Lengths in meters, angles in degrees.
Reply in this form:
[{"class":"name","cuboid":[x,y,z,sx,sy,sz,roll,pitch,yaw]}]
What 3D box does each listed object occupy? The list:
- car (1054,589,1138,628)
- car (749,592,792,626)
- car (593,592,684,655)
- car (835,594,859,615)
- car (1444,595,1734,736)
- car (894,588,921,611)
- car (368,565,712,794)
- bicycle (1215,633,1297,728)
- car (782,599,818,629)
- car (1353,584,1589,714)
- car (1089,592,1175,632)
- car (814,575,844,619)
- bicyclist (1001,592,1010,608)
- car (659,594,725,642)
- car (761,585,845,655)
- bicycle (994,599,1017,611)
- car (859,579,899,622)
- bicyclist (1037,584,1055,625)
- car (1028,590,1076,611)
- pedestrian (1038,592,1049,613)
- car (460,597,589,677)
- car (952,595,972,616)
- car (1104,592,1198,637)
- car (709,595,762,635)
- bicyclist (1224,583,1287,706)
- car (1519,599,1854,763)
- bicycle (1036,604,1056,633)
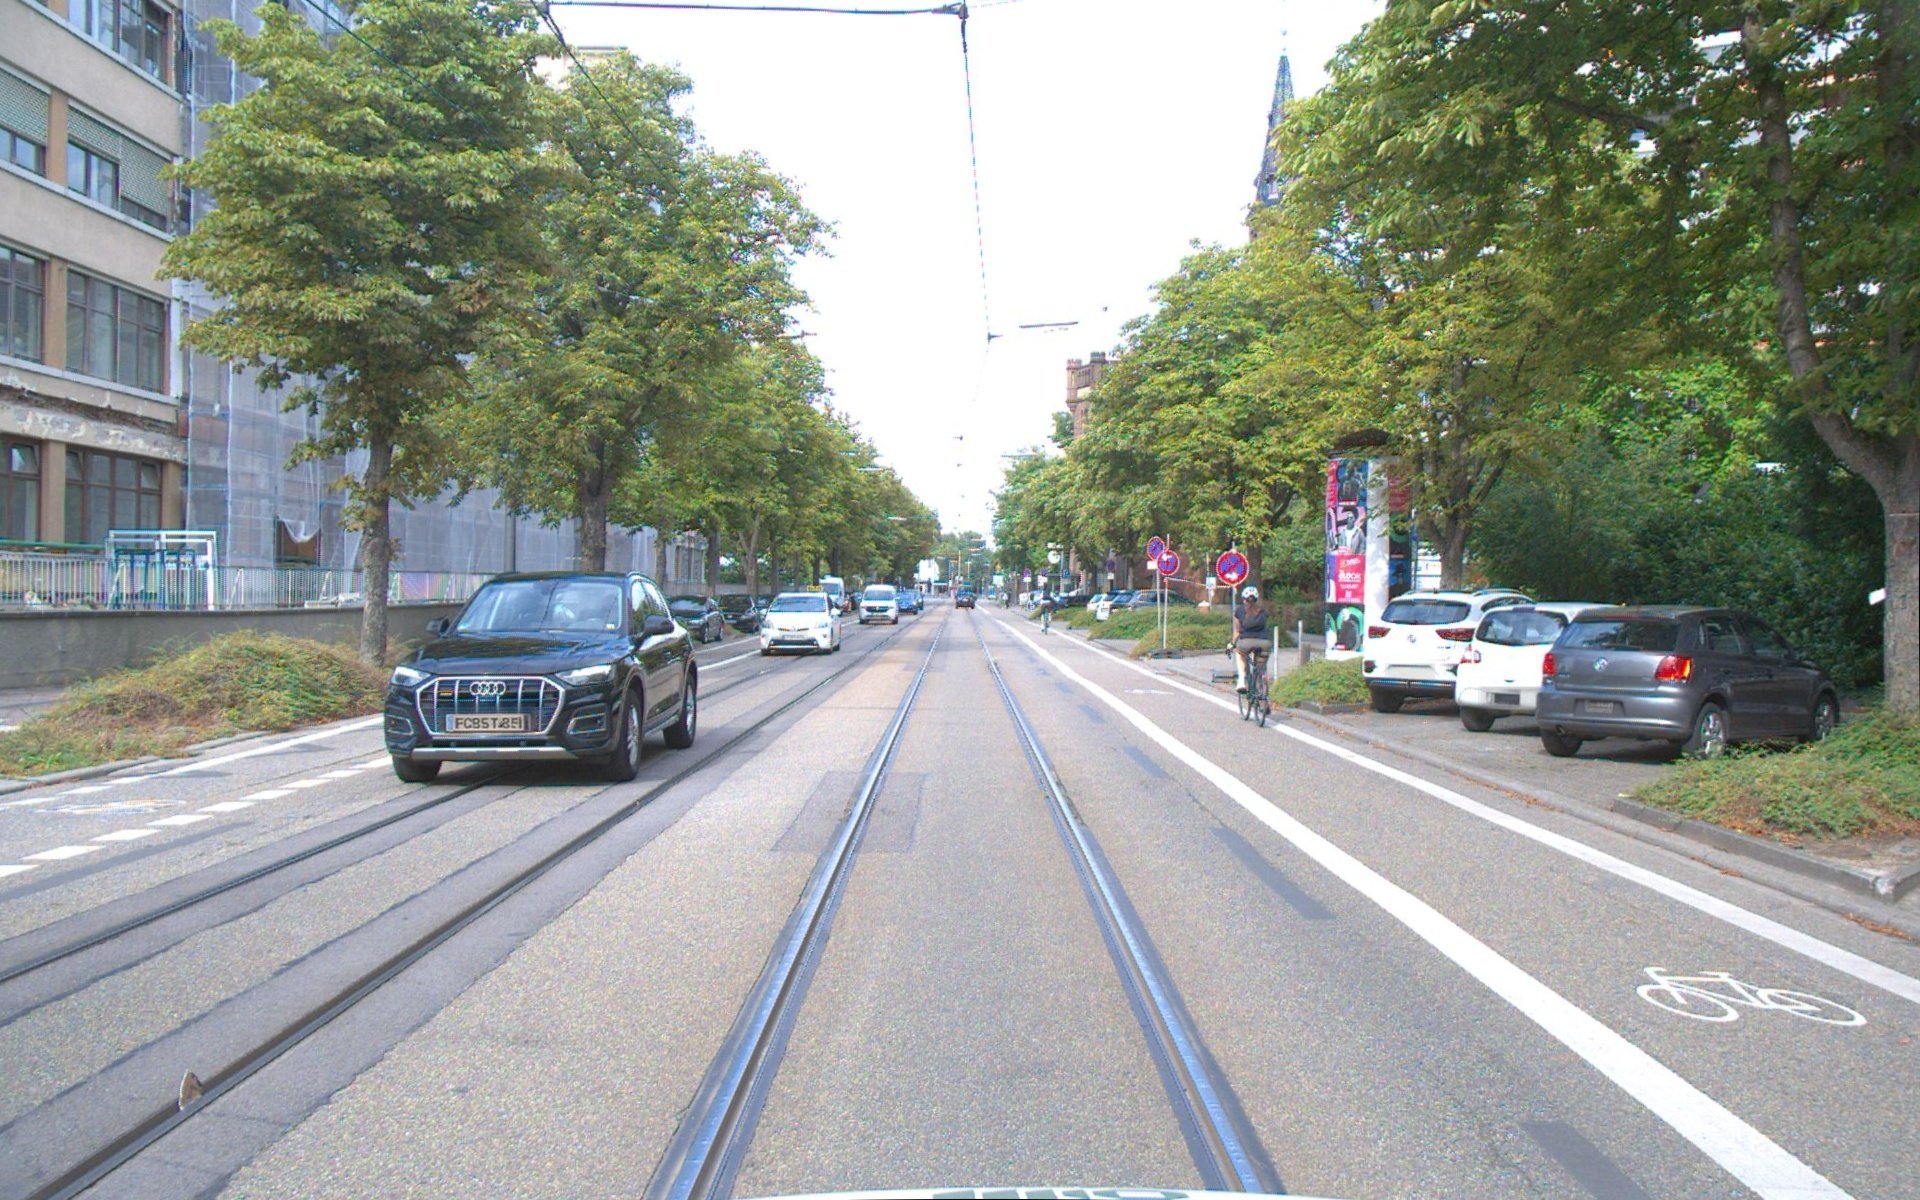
[{"class":"car","cuboid":[5.812,0.354,70.563,1.654,1.630,3.621,0,0,44]},{"class":"car","cuboid":[-8.294,0.381,72.587,1.558,1.427,3.961,1,0,-2]},{"class":"car","cuboid":[-8.264,0.566,42.775,1.602,1.522,3.962,1,0,-1]},{"class":"car","cuboid":[-8.128,0.311,118.840,1.558,1.427,3.961,1,0,-2]},{"class":"car","cuboid":[7.437,0.717,19.435,3.612,1.500,1.658,1,0,-40]},{"class":"car","cuboid":[-3.569,-0.047,113.021,1.697,1.522,4.378,0,1,0]},{"class":"car","cuboid":[-3.386,0.563,14.229,1.810,1.640,4.334,1,0,0]},{"class":"bicycle","cuboid":[3.646,0.965,20.512,0.581,1.062,1.977,1,0,-2]},{"class":"car","cuboid":[-7.990,0.683,82.809,1.558,1.427,3.961,1,0,-2]},{"class":"car","cuboid":[7.050,0.632,22.645,1.654,1.630,3.621,0,0,44]},{"class":"car","cuboid":[7.147,0.504,68.488,1.654,1.630,3.621,0,0,44]},{"class":"car","cuboid":[-8.398,-0.198,106.352,1.686,2.751,5.468,1,0,-2]},{"class":"bicyclist","cuboid":[4.555,-0.014,166.976,0.828,1.531,0.769,1,0,8]},{"class":"car","cuboid":[-8.381,0.538,51.974,1.558,1.427,3.961,1,0,-2]},{"class":"car","cuboid":[-3.842,0.451,41.071,1.697,1.640,4.334,0,0,0]},{"class":"bicycle","cuboid":[4.637,0.485,166.970,2.226,1.210,0.769,1,0,7]},{"class":"car","cuboid":[-3.740,0.016,76.741,1.697,1.917,4.377,1,0,-1]},{"class":"bicyclist","cuboid":[3.239,0.174,62.357,0.645,1.522,0.929,1,0,0]},{"class":"car","cuboid":[8.067,0.046,144.869,3.910,1.722,1.998,1,0,-6]},{"class":"pedestrian","cuboid":[7.295,0.250,144.523,0.732,1.821,0.731,1,-1,15]},{"class":"car","cuboid":[-8.379,0.677,32.115,1.558,1.427,3.961,1,0,-2]},{"class":"car","cuboid":[0.176,0.528,151.913,1.758,1.855,4.677,1,0,-1]},{"class":"car","cuboid":[7.142,0.528,61.684,1.654,1.630,3.621,0,0,44]},{"class":"car","cuboid":[-8.412,0.543,62.286,1.558,1.427,3.961,1,0,-2]},{"class":"bicyclist","cuboid":[3.656,0.536,20.513,0.581,1.485,0.875,1,0,-2]},{"class":"car","cuboid":[7.307,0.741,16.505,3.612,1.444,1.658,1,0,-40]},{"class":"bicycle","cuboid":[3.227,0.688,62.350,0.650,1.062,1.841,1,0,0]}]
